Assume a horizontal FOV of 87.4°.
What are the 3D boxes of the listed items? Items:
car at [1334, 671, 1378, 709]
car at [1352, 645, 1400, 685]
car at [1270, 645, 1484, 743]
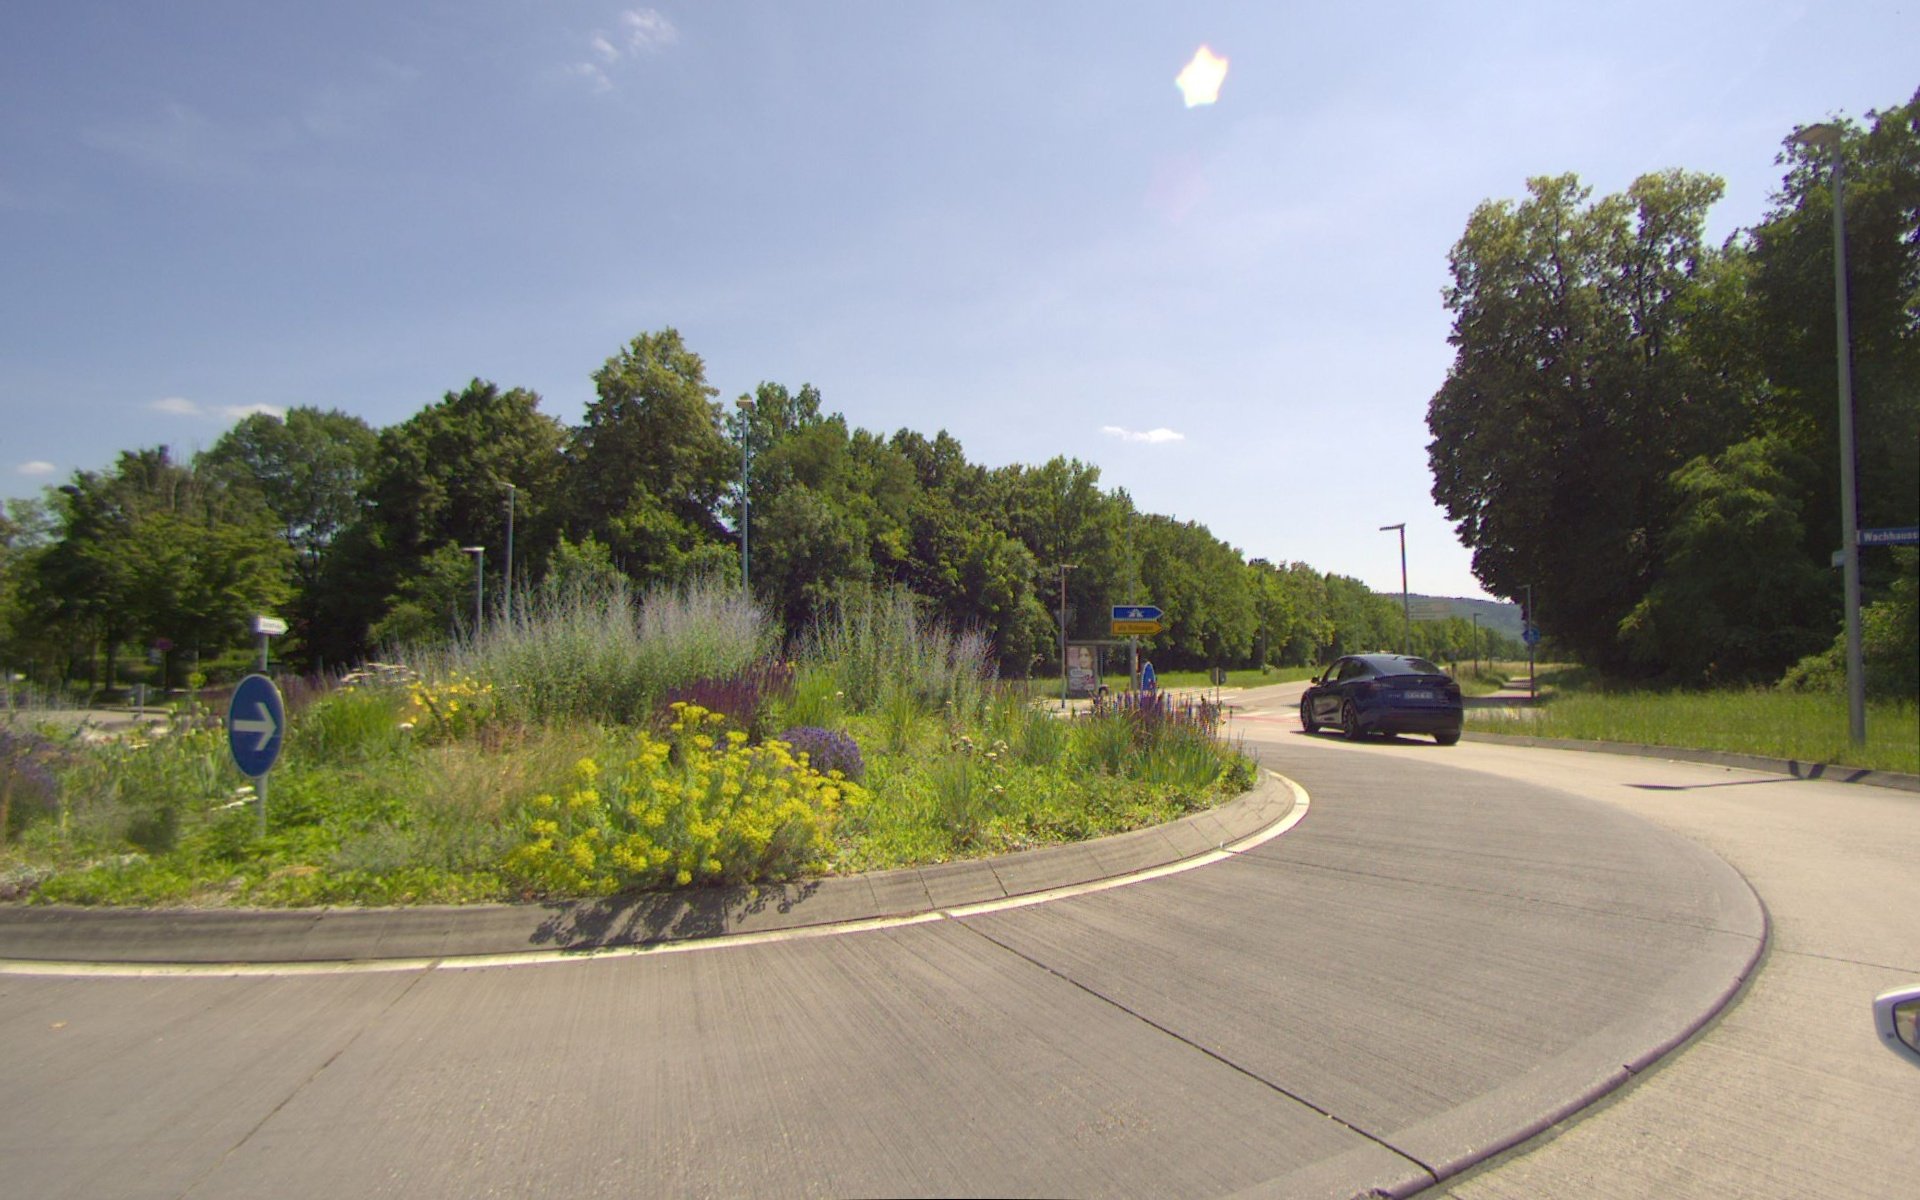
[{"bbox_3d":[18.377,4.134,46.540,1.756,1.627,4.127,0,-4,23],"label":"car"},{"bbox_3d":[25.631,4.017,61.840,2.134,2.346,4.973,-1,-4,30],"label":"car"},{"bbox_3d":[7.856,1.740,19.513,1.961,1.661,4.757,0,-3,-3],"label":"car"}]
